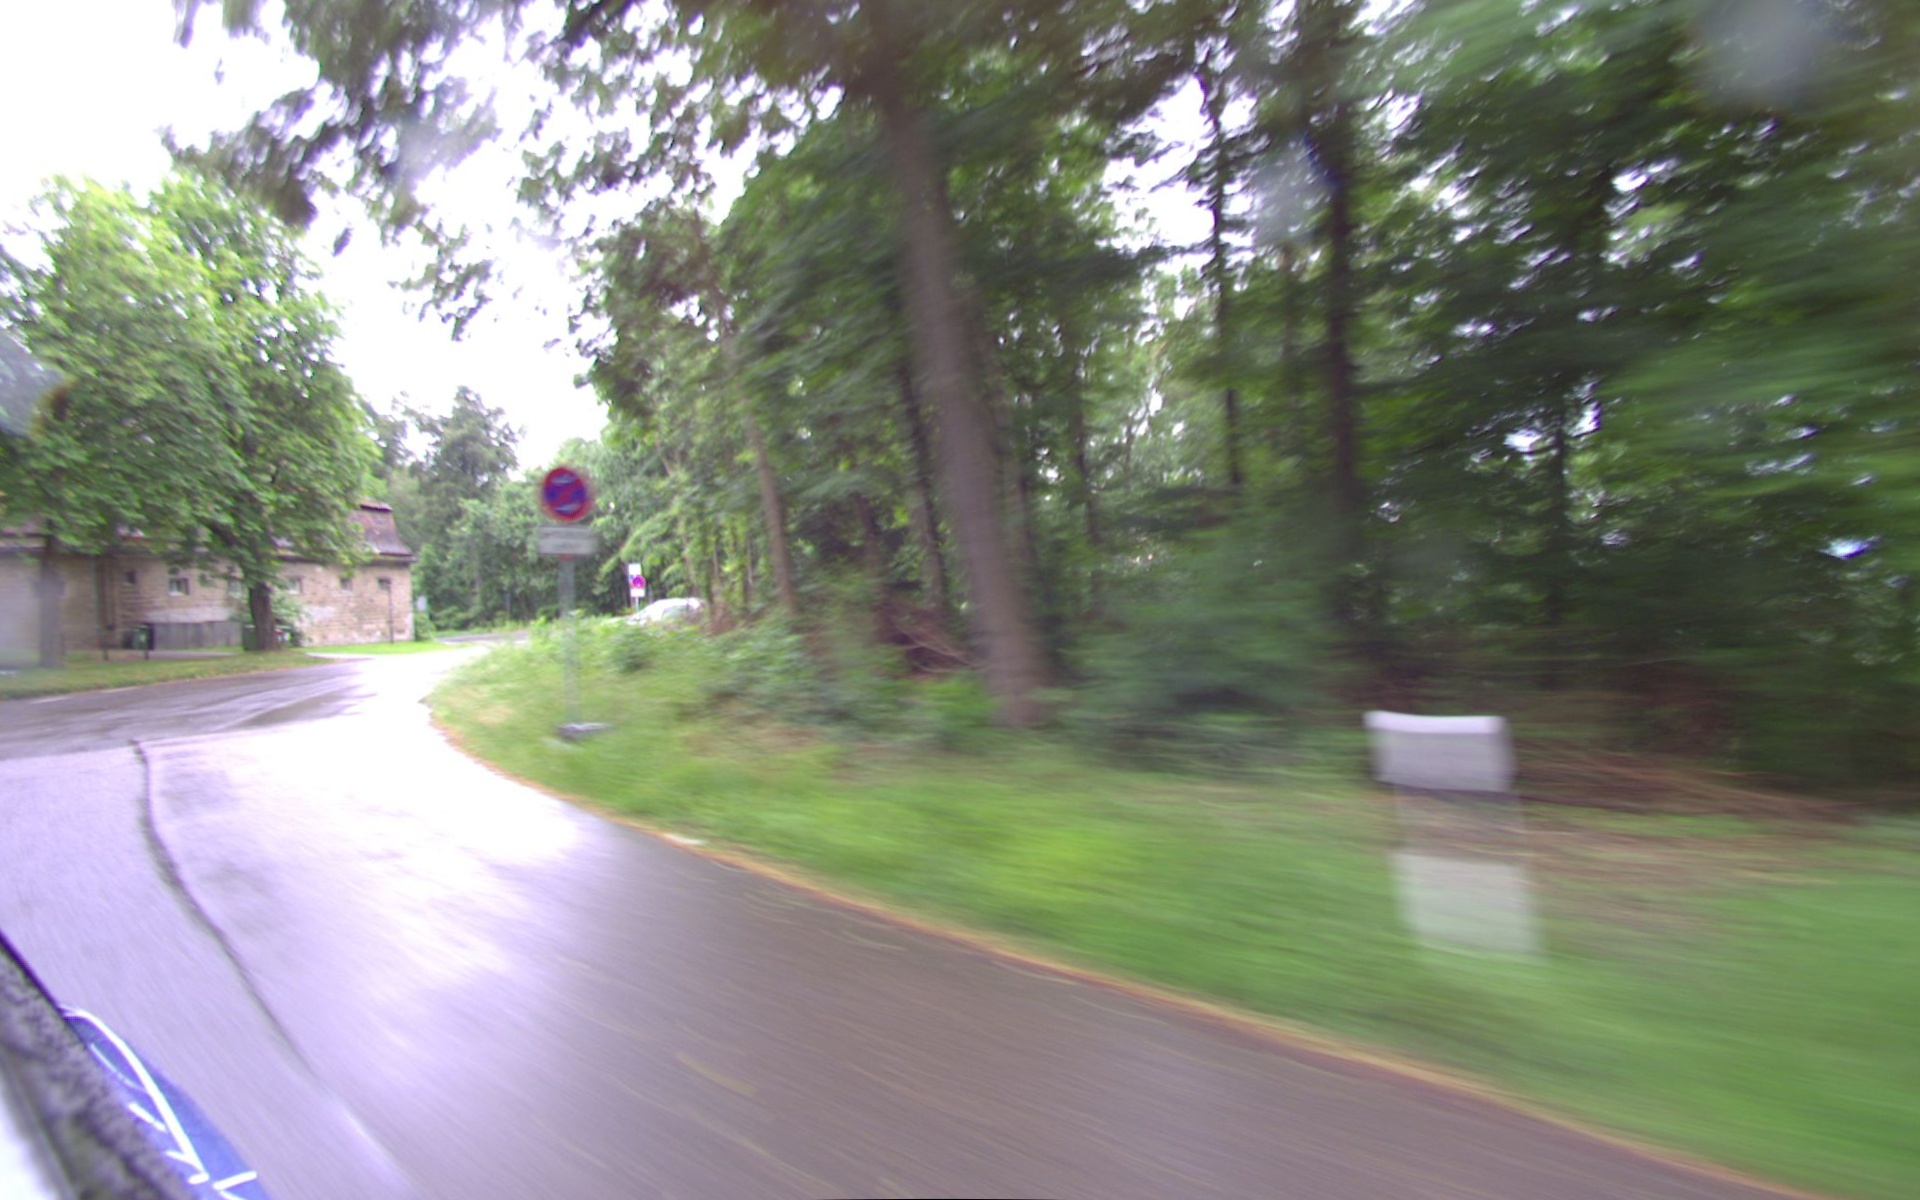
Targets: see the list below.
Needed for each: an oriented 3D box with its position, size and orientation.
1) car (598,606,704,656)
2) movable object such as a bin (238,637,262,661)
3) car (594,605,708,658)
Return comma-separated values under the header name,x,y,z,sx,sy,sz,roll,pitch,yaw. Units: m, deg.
name,x,y,z,sx,sy,sz,roll,pitch,yaw
car,-12.857,1.288,42.300,3.937,2.029,2.003,0,-2,-7
movable object such as a bin,-28.978,1.993,41.305,0.622,0.961,0.763,-2,0,-22
car,-12.010,1.243,39.555,3.937,2.029,2.003,0,-2,-7
